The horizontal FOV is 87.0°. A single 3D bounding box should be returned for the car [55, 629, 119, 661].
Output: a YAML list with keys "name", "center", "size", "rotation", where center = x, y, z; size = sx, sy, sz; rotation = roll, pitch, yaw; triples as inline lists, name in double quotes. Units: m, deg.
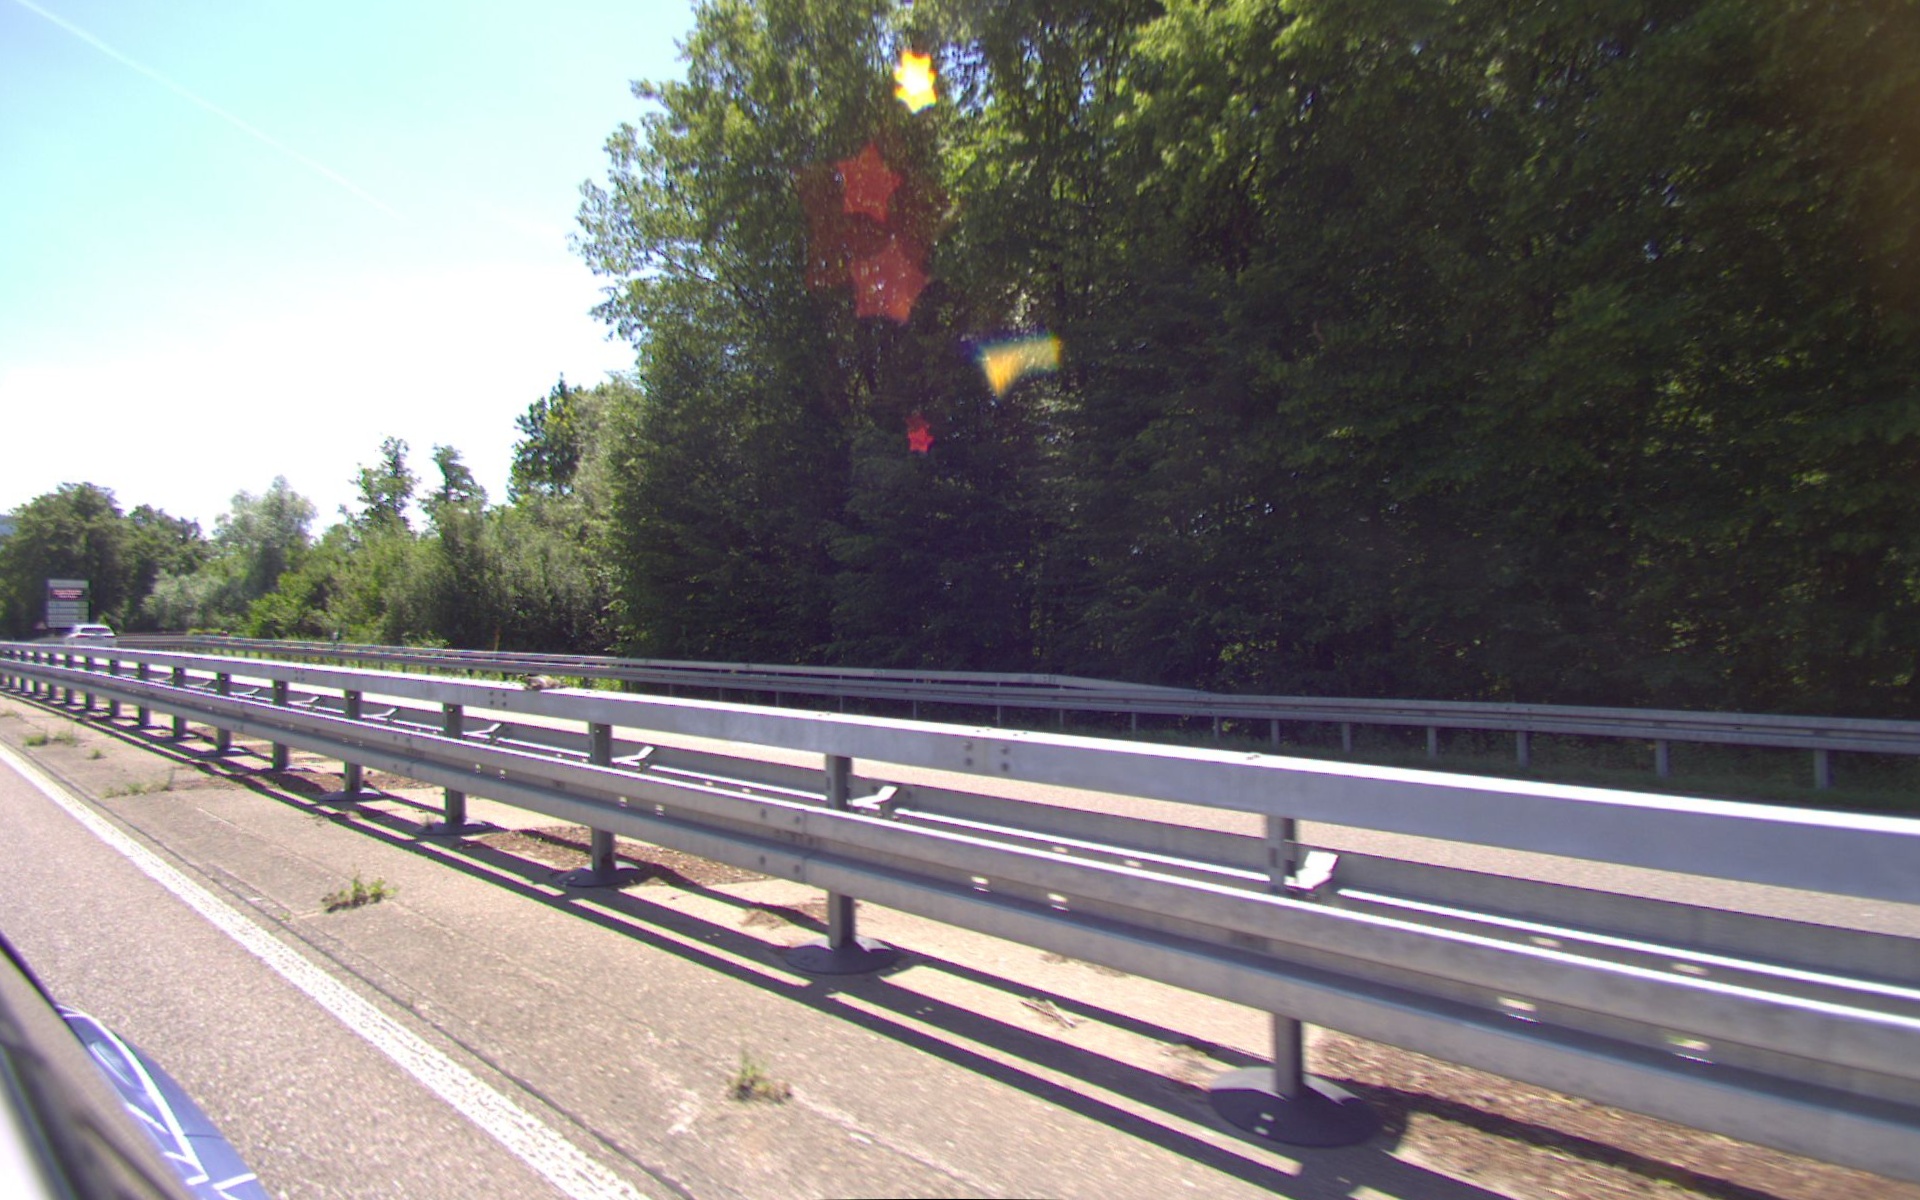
- name: "car"
  center: [-46.075, 2.353, 53.370]
  size: [4.838, 1.611, 1.799]
  rotation: [-1, -4, 41]
